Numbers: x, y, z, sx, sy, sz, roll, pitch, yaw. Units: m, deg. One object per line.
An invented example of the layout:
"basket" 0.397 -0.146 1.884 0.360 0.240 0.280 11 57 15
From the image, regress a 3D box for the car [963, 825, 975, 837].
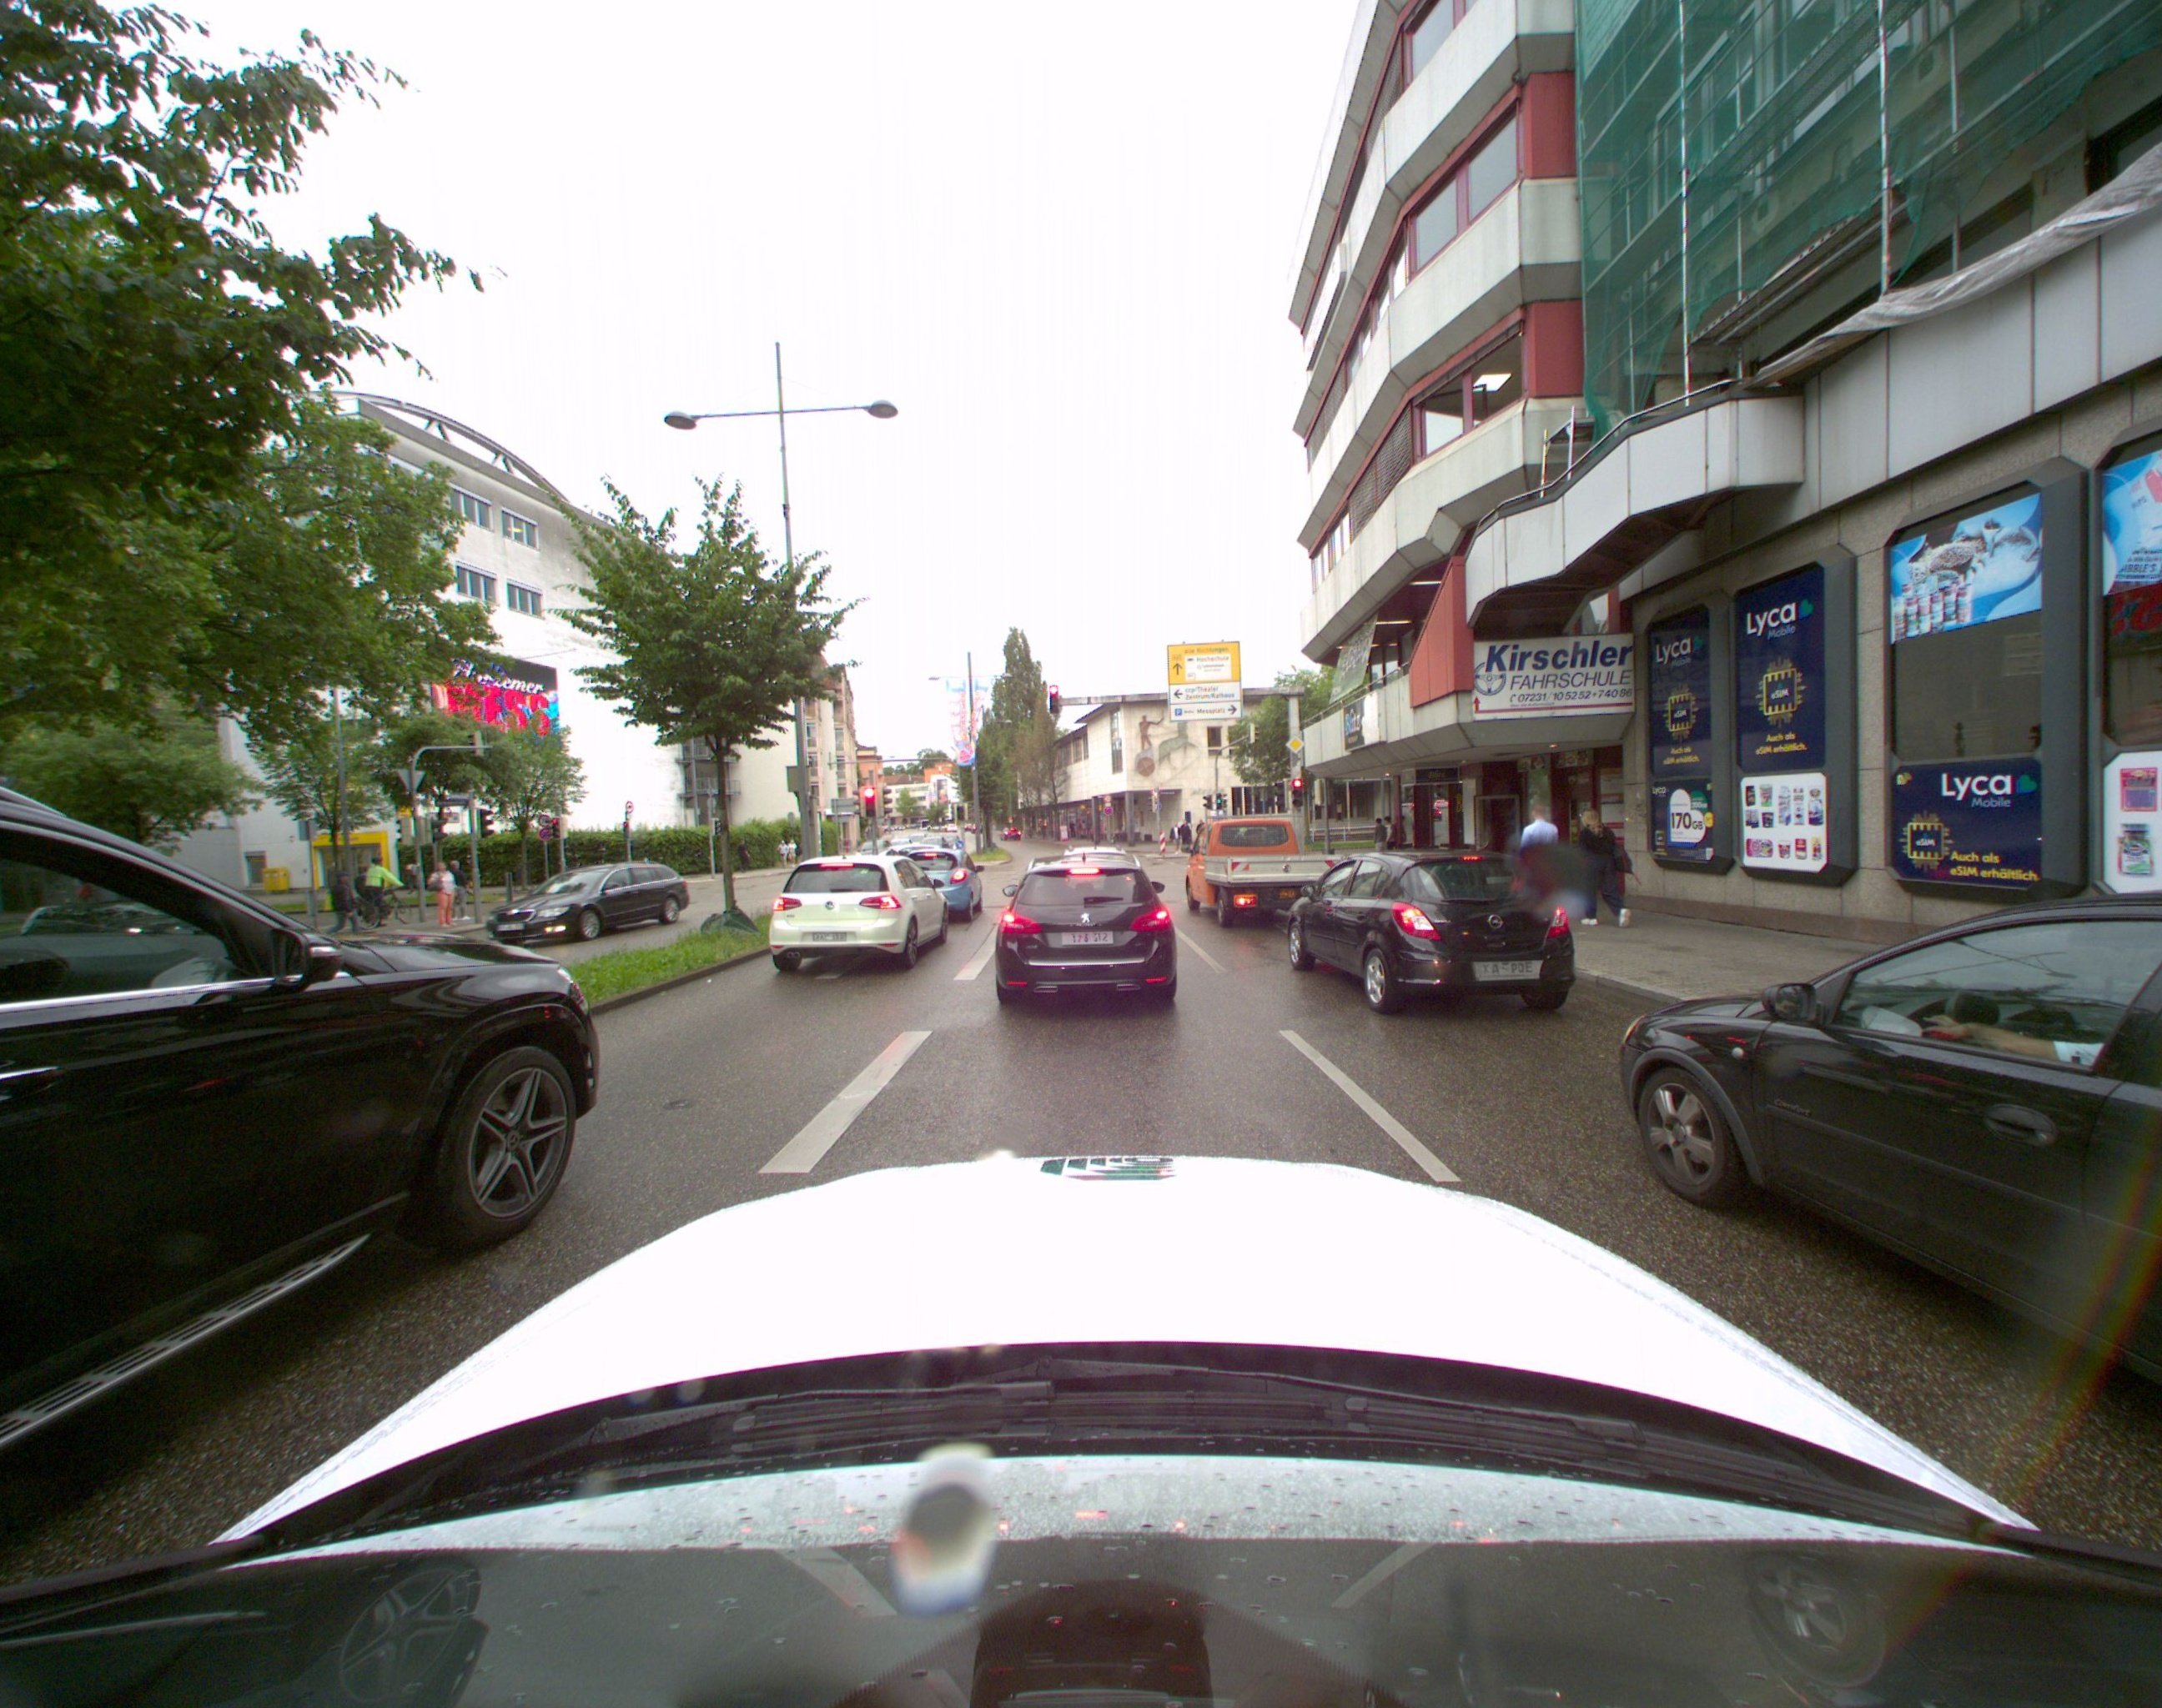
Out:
"car" -20.430 -4.206 148.076 1.709 1.936 3.979 0 -1 -15

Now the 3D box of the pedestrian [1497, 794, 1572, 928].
"pedestrian" 6.743 0.103 12.131 0.733 1.935 0.640 -1 -1 1

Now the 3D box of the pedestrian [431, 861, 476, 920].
"pedestrian" -18.446 1.072 23.953 0.750 1.661 0.628 -2 2 1

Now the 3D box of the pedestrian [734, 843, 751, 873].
"pedestrian" -18.993 0.228 45.673 0.634 1.643 0.735 -1 -1 5

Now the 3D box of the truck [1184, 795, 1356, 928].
"truck" 3.434 0.066 15.918 2.170 2.172 5.020 -1 1 0

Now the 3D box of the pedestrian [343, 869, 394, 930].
"pedestrian" -21.212 1.343 24.242 0.917 1.784 0.712 -1 -1 13

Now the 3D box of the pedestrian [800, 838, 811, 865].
"pedestrian" -17.611 -0.150 52.126 0.538 1.748 0.564 -1 -1 -3

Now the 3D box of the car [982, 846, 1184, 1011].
"car" 0.106 0.645 9.138 1.770 1.429 3.845 -1 1 2

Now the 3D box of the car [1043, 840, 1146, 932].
"car" 0.281 0.504 15.387 1.690 1.486 3.795 -1 1 2

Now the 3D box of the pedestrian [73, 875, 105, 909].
"pedestrian" -48.368 1.829 39.708 0.633 1.643 0.735 -1 -1 8

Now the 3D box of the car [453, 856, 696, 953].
"car" -10.306 0.923 17.115 1.624 1.485 4.747 -4 2 6

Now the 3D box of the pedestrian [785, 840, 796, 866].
"pedestrian" -18.418 -0.052 51.639 0.579 1.599 0.526 -1 -1 -5

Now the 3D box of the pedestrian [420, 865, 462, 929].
"pedestrian" -17.038 1.135 21.680 0.555 1.661 0.580 -2 2 2

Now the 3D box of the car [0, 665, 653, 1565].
"car" -3.206 0.551 1.672 1.905 1.870 5.073 -1 -1 1

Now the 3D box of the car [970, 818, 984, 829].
"car" -16.772 -4.910 131.297 1.728 1.490 4.709 0 -1 -14

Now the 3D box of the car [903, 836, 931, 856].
"car" -12.311 -0.627 61.312 1.630 1.486 3.604 -1 1 -4

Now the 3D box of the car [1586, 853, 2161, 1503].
"car" 3.270 0.743 2.294 1.600 1.429 3.626 -1 1 3

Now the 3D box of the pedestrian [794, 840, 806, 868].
"pedestrian" -17.490 -0.009 50.631 0.538 1.748 0.745 -1 -1 -7

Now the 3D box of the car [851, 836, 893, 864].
"car" -11.956 -0.260 46.768 1.569 1.486 3.608 -1 1 -1

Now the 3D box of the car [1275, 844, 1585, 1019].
"car" 3.376 0.620 8.709 1.611 1.429 3.840 -1 1 -1

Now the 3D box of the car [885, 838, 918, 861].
"car" -12.132 -0.354 55.269 1.630 1.486 3.604 -1 1 -4

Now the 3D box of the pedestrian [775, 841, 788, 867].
"pedestrian" -18.544 0.016 50.429 0.579 1.599 0.526 -1 -1 -5

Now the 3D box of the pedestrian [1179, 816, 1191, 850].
"pedestrian" 5.899 -1.169 46.017 0.633 1.897 0.735 -1 -1 8

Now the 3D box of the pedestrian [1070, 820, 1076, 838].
"pedestrian" -0.804 -2.571 83.329 0.469 1.748 0.537 0 -1 -19

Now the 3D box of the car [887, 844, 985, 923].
"car" -3.029 0.555 17.661 1.629 1.486 3.606 -1 1 -3

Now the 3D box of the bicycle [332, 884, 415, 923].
"bicycle" -20.241 1.398 23.347 0.613 1.000 1.941 -3 -1 2

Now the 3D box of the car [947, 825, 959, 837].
"car" -23.111 -4.168 146.826 1.709 1.882 3.979 0 -1 -15

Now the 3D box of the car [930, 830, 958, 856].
"car" -9.249 -0.728 55.072 1.743 1.640 3.988 -1 -1 -9

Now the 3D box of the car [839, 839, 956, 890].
"car" -6.493 0.374 28.746 3.756 1.468 1.626 -4 -2 -22

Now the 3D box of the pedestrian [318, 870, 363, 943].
"pedestrian" -17.453 1.219 19.192 0.552 1.661 0.583 -1 2 33

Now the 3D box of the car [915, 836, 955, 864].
"car" -8.617 -0.209 48.300 1.739 1.579 3.997 -1 -1 -1

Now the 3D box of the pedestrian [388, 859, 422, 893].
"pedestrian" -32.570 1.056 39.248 1.059 1.578 0.683 -1 -1 -3

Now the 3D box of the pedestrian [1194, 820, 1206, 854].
"pedestrian" 6.706 -0.957 45.770 0.633 1.897 0.735 -1 -1 8

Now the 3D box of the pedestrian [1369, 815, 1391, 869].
"pedestrian" 9.598 -0.378 26.154 0.424 1.682 0.450 -3 -1 0

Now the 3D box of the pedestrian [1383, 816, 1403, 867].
"pedestrian" 10.159 -0.389 26.551 0.395 1.640 0.504 -3 -1 2

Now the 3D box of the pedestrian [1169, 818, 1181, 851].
"pedestrian" 5.118 -1.049 44.261 0.633 1.758 0.735 -1 -1 8

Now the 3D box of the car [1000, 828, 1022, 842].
"car" -8.027 -2.174 93.203 1.790 1.454 4.485 -5 3 -14

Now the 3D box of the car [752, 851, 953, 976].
"car" -3.029 0.706 11.642 1.772 1.429 3.841 -1 1 0

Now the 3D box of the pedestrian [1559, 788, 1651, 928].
"pedestrian" 7.634 0.062 11.893 0.733 1.934 0.640 -5 -1 1

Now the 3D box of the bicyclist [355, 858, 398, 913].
"bicyclist" -20.222 0.897 23.381 0.629 1.530 0.609 -3 -1 1
